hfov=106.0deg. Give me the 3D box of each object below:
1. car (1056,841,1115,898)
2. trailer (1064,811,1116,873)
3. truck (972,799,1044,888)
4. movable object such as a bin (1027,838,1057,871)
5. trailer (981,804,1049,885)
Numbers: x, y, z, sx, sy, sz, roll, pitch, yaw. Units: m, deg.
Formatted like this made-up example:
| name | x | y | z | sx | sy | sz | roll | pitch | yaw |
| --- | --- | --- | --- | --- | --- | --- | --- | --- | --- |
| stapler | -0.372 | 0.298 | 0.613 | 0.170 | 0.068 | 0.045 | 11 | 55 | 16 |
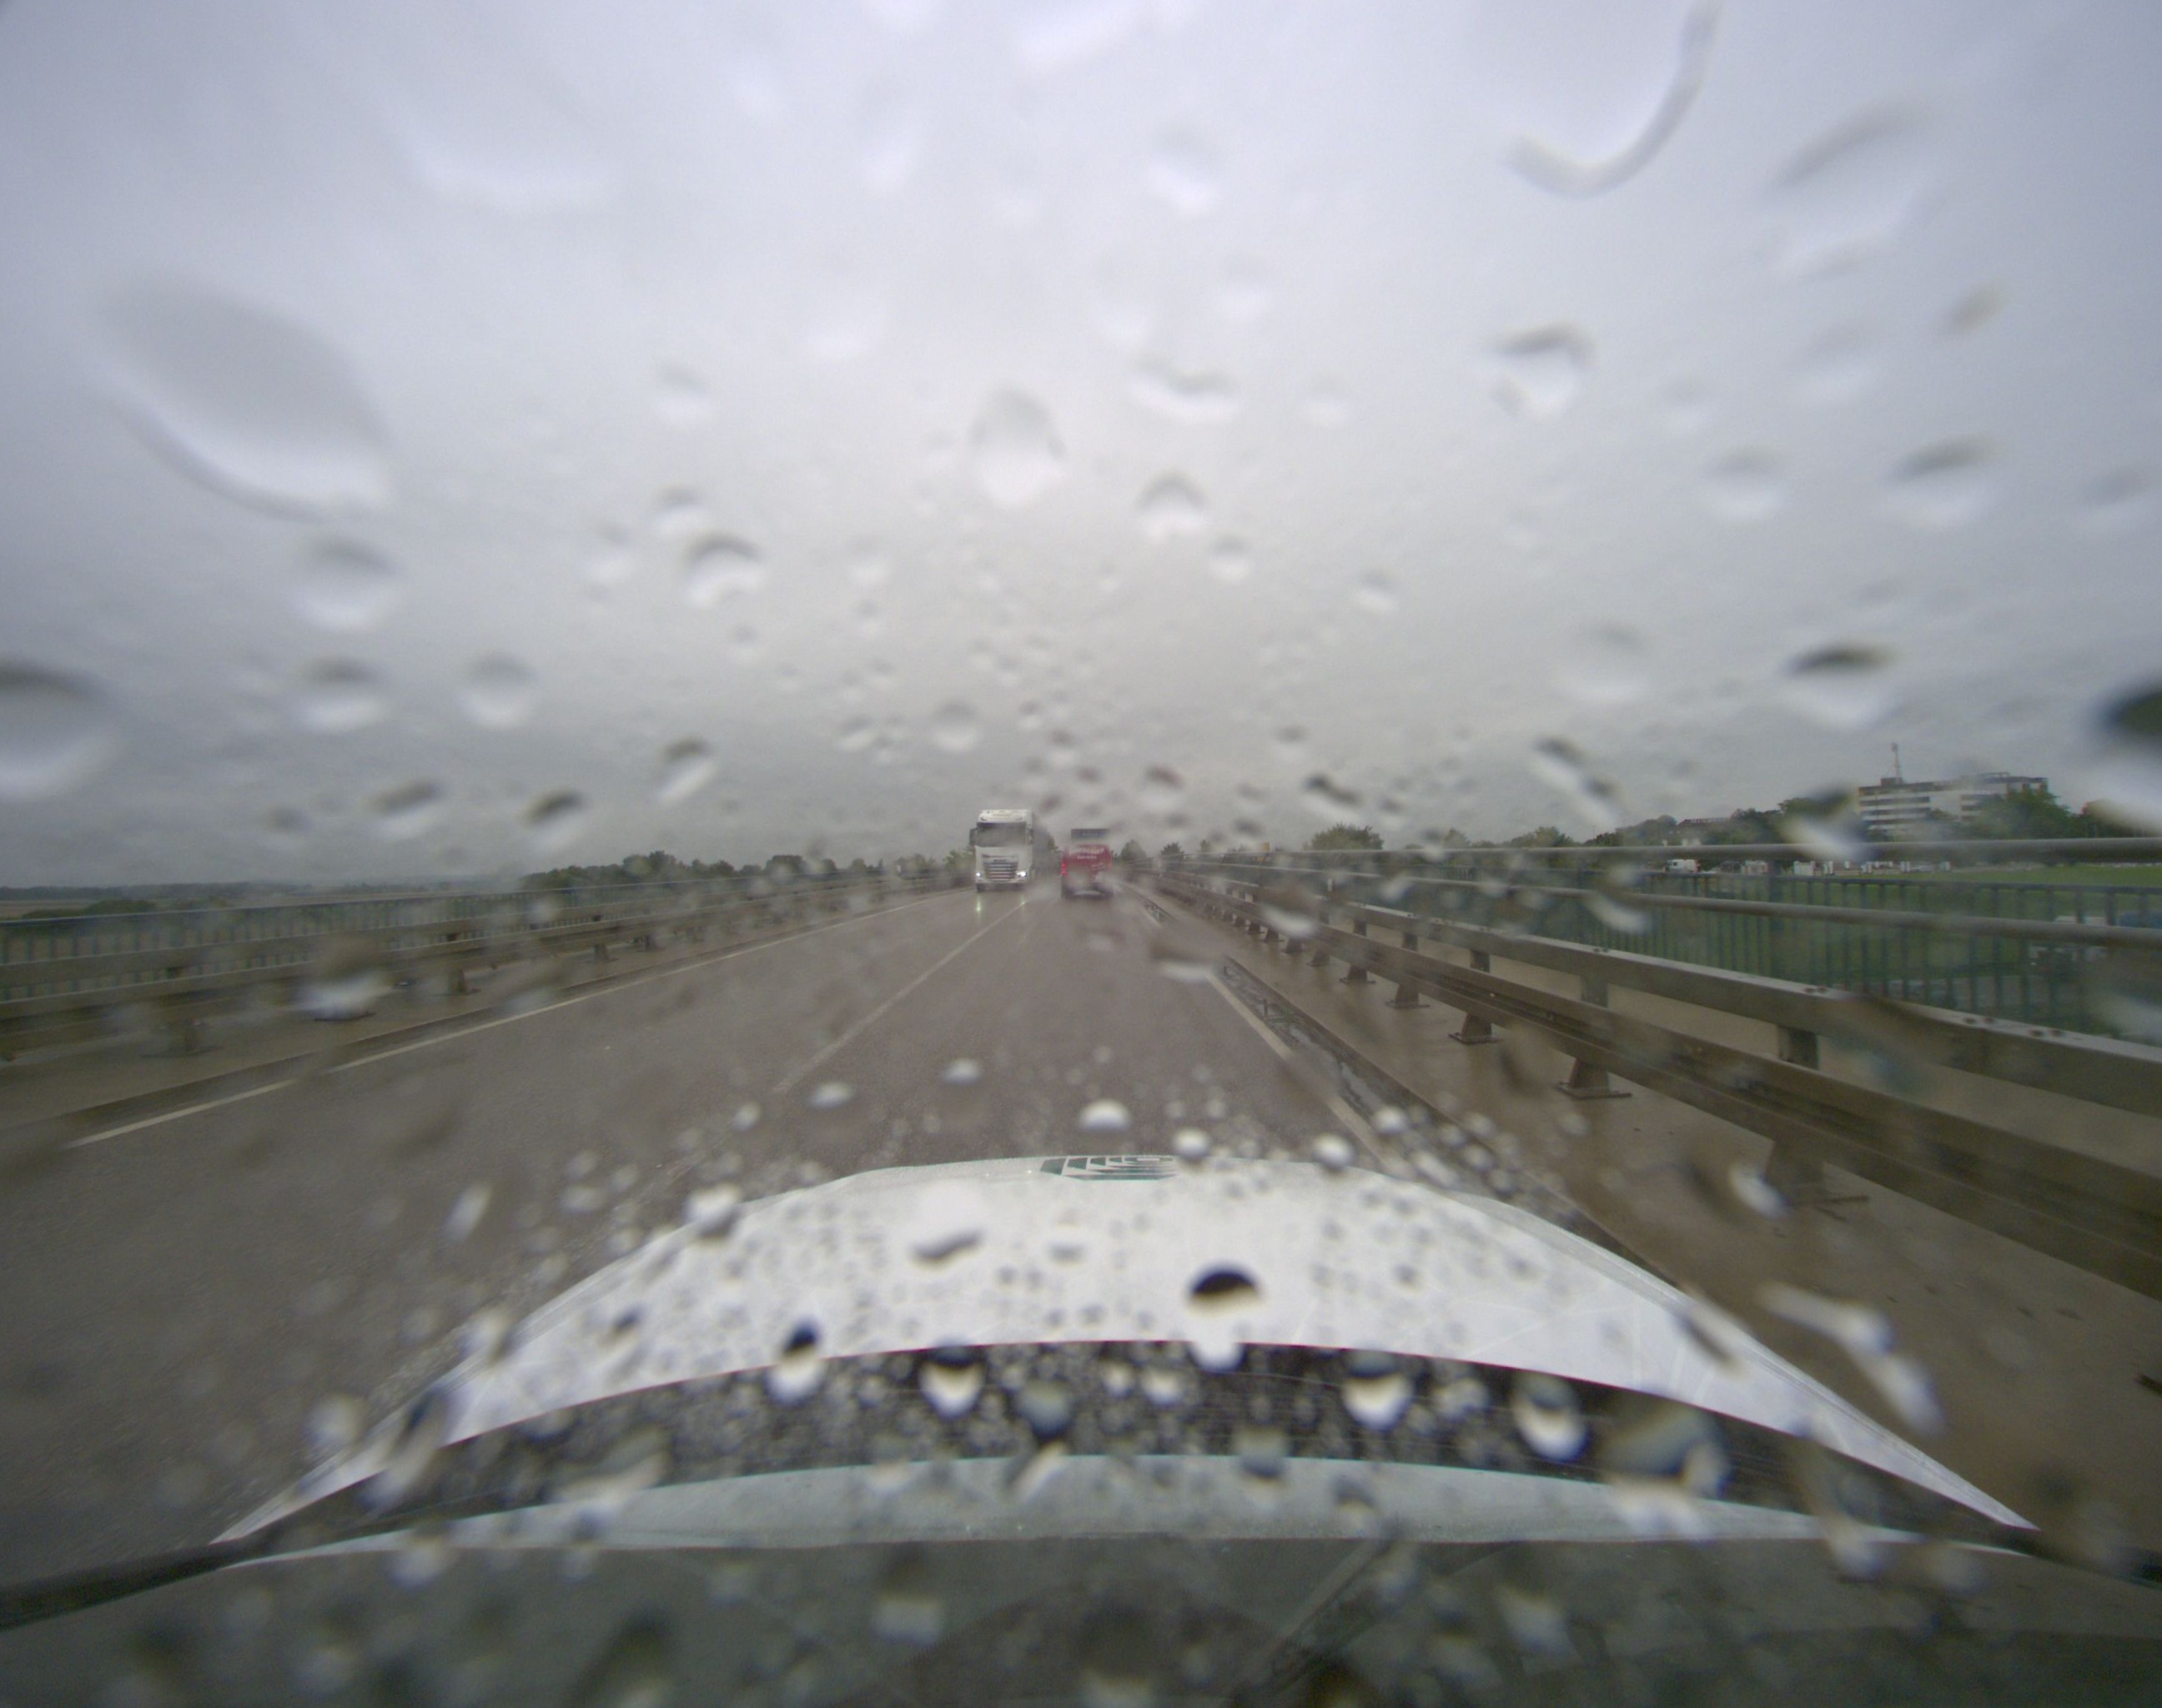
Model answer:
| name | x | y | z | sx | sy | sz | roll | pitch | yaw |
| --- | --- | --- | --- | --- | --- | --- | --- | --- | --- |
| car | 0.153 | 0.509 | 29.880 | 1.987 | 1.925 | 4.143 | 0 | 1 | 0 |
| trailer | 0.645 | -0.726 | 56.311 | 3.190 | 3.922 | 8.739 | 2 | -1 | 1 |
| truck | -3.531 | -0.469 | 41.376 | 2.809 | 3.970 | 8.762 | -1 | 0 | 0 |
| movable object such as a bin | -4.125 | 0.069 | 87.056 | 2.737 | 3.445 | 4.646 | -2 | -1 | 2 |
| trailer | -3.537 | -0.440 | 47.303 | 2.809 | 3.970 | 13.733 | -1 | 0 | 0 |
